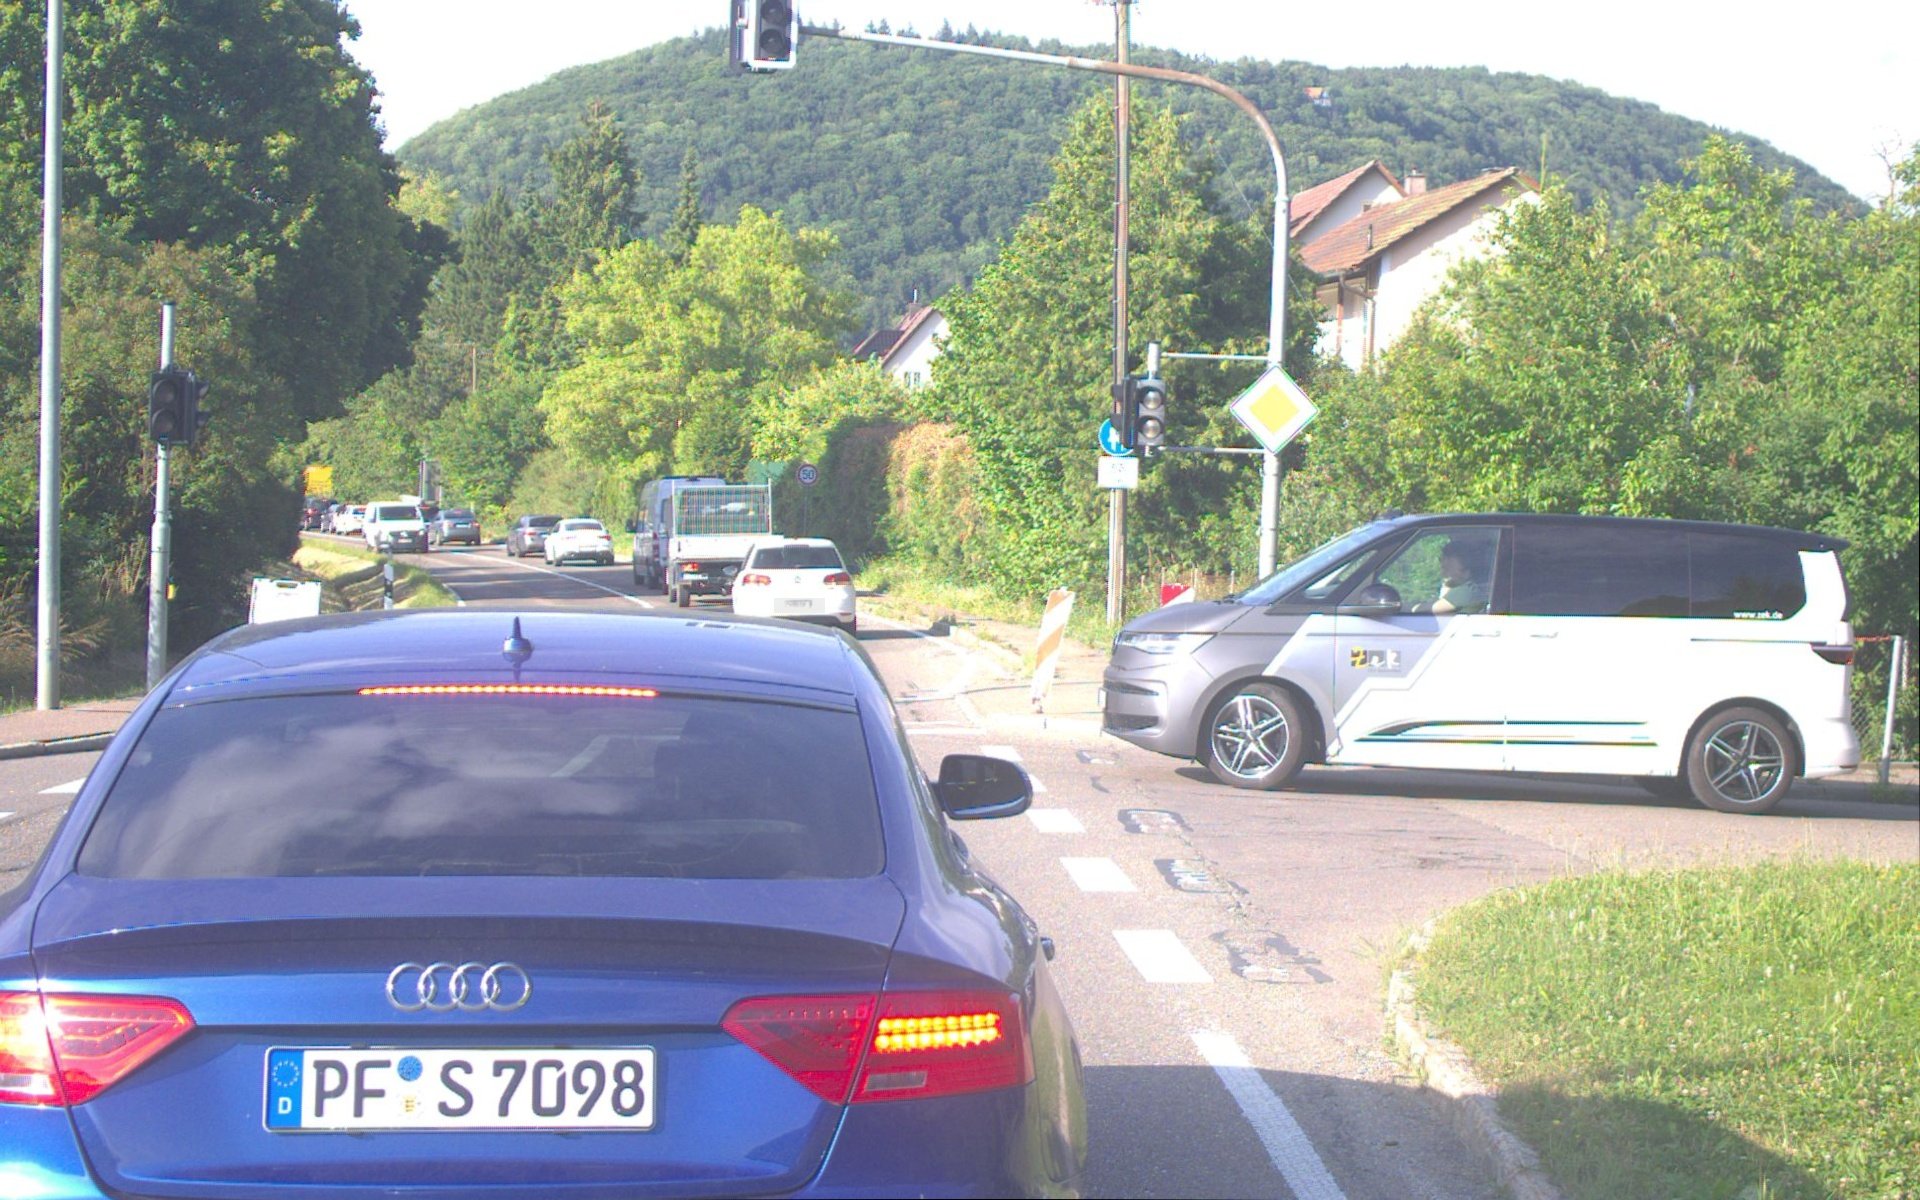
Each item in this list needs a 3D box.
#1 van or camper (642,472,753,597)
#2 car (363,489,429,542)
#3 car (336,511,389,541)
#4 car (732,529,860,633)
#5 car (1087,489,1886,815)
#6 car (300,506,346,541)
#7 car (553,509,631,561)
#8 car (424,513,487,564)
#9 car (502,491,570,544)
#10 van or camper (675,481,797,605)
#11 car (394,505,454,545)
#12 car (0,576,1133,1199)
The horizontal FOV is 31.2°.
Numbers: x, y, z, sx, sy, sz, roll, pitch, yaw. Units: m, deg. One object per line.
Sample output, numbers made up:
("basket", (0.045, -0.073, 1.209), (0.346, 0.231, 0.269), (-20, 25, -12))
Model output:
("van or camper", (-6.361, -1.601, 82.659), (2.414, 2.894, 6.133), (0, 2, -6))
("car", (-20.935, -3.129, 127.484), (1.993, 1.897, 5.255), (-1, 2, -14))
("car", (-28.743, -3.559, 165.271), (1.941, 1.419, 4.001), (0, 2, -18))
("car", (-2.409, -0.314, 50.991), (1.771, 1.410, 4.174), (2, 1, -2))
("car", (3.394, 0.307, 22.833), (4.854, 1.870, 2.000), (2, 2, -3))
("car", (-32.913, -3.976, 177.629), (1.771, 1.776, 4.001), (-1, 1, -18))
("car", (-11.384, -2.011, 106.196), (1.819, 1.546, 4.001), (0, 2, -15))
("car", (-20.468, -2.498, 139.268), (1.993, 2.006, 4.002), (0, 2, -16))
("car", (-14.503, -2.816, 117.446), (1.796, 1.787, 4.001), (-1, 1, -15))
("van or camper", (-4.531, -1.176, 68.833), (2.179, 2.377, 5.371), (0, 2, -6))
("car", (-23.120, -3.226, 148.275), (2.040, 1.678, 4.001), (0, 2, -16))
("car", (-0.776, 0.695, 6.473), (1.829, 1.404, 4.227), (-1, 1, -2))
